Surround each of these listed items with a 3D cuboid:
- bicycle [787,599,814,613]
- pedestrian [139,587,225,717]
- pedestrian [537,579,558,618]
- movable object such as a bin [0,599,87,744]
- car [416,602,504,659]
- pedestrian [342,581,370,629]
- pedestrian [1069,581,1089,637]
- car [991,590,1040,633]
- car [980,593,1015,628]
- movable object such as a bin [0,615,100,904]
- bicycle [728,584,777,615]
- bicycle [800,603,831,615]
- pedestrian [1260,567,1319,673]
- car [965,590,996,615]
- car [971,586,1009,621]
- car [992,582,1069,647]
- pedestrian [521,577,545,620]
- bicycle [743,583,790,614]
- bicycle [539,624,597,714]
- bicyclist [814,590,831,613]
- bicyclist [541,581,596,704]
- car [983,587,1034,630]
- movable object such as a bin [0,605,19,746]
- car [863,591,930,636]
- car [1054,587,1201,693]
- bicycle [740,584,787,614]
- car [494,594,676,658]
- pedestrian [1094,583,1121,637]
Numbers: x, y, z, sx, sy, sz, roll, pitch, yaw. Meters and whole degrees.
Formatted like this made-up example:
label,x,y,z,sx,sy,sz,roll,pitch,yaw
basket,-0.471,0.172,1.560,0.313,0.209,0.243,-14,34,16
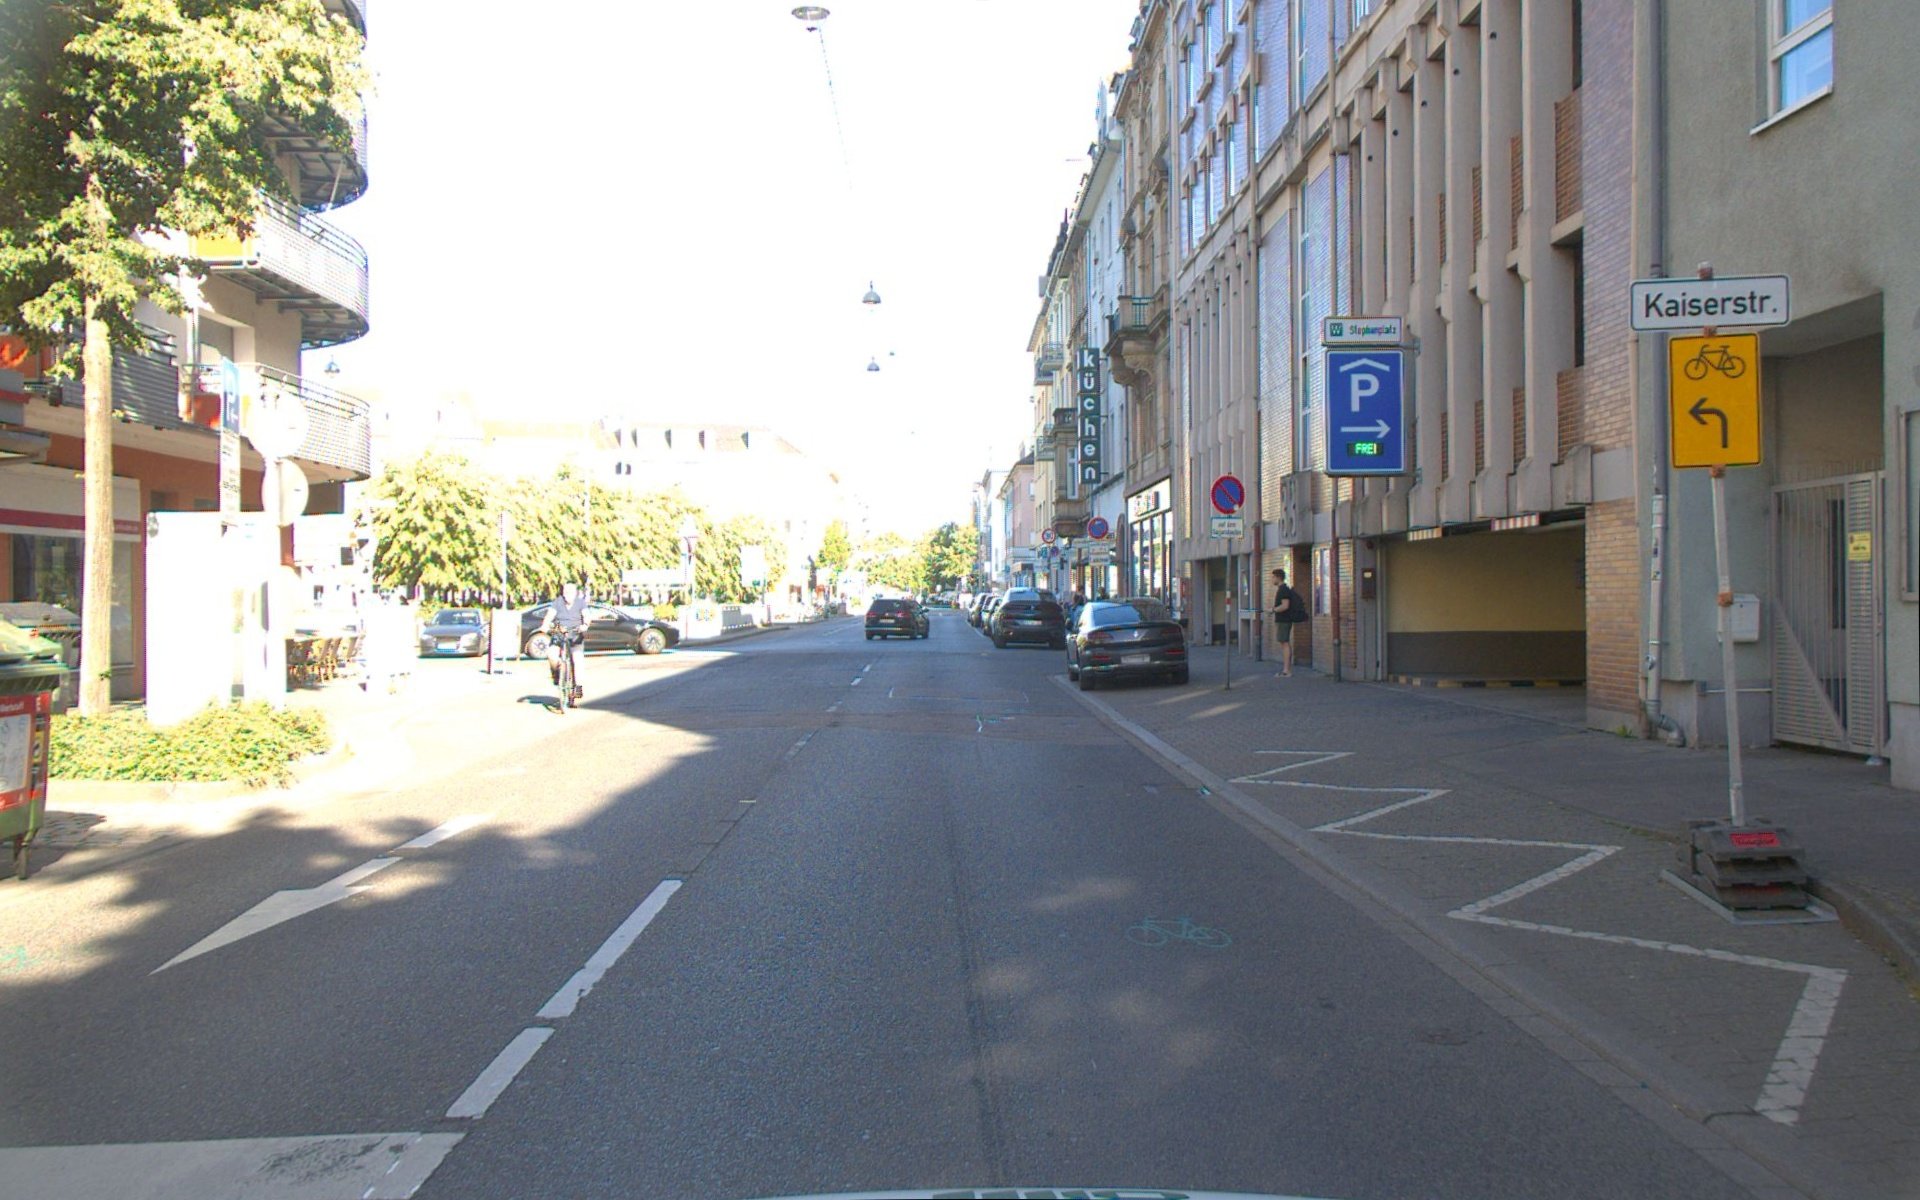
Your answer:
label,x,y,z,sx,sy,sz,roll,pitch,yaw
bicycle,-11.899,0.474,123.708,1.972,1.040,0.761,0,0,-5
pedestrian,-10.385,0.674,22.114,0.651,1.688,1.036,-1,0,-2
pedestrian,-22.868,-0.082,91.754,0.717,2.145,0.967,0,0,21
movable object such as a bin,-9.861,0.719,17.055,1.021,1.428,1.313,-1,0,-2
car,-14.810,0.881,49.225,1.715,1.447,4.532,-1,2,-7
pedestrian,-26.997,0.231,73.944,0.717,2.145,0.967,0,0,21
pedestrian,3.861,0.300,53.519,0.607,1.797,0.518,-1,0,2
car,1.974,0.387,59.506,1.576,1.474,3.830,1,1,-1
car,1.761,0.476,78.122,1.580,1.573,2.855,1,1,0
movable object such as a bin,-5.564,0.850,8.989,1.021,1.497,1.452,-1,0,-2
bicycle,-13.729,-0.037,109.432,3.054,2.049,0.909,0,0,8
bicycle,-10.986,0.657,125.932,2.197,0.898,0.924,0,0,3
pedestrian,5.364,0.320,26.974,0.678,1.664,0.889,-3,0,-2
car,1.248,0.187,101.270,1.756,1.485,3.867,1,-1,-1
car,1.484,0.196,83.841,1.682,1.664,4.082,1,-1,-3
car,1.986,0.362,47.886,1.933,1.755,4.823,1,1,-1
pedestrian,-21.416,-0.064,83.005,0.717,2.145,0.967,0,0,21
bicycle,-13.263,-0.104,113.512,3.054,2.049,0.909,0,0,8
bicycle,-5.511,0.946,23.315,0.693,1.166,1.962,-1,0,-11
bicyclist,-10.466,0.101,125.908,1.122,1.715,0.915,0,0,2
bicyclist,-5.515,0.589,23.350,0.684,1.682,1.033,-1,0,-11
car,1.877,0.309,65.160,1.802,1.573,4.227,1,1,-2
movable object such as a bin,-9.837,0.745,15.734,1.021,1.369,1.313,-1,0,-2
car,-2.156,0.445,57.369,1.894,1.513,4.273,0,0,4
car,2.768,0.613,28.418,1.879,1.504,4.964,-4,1,-1
bicycle,-13.349,-0.074,112.432,3.054,2.049,0.909,0,0,8
car,-9.777,0.645,43.089,4.415,1.506,1.990,-1,1,-20
pedestrian,4.762,0.314,53.401,0.784,1.704,0.589,-2,0,2
